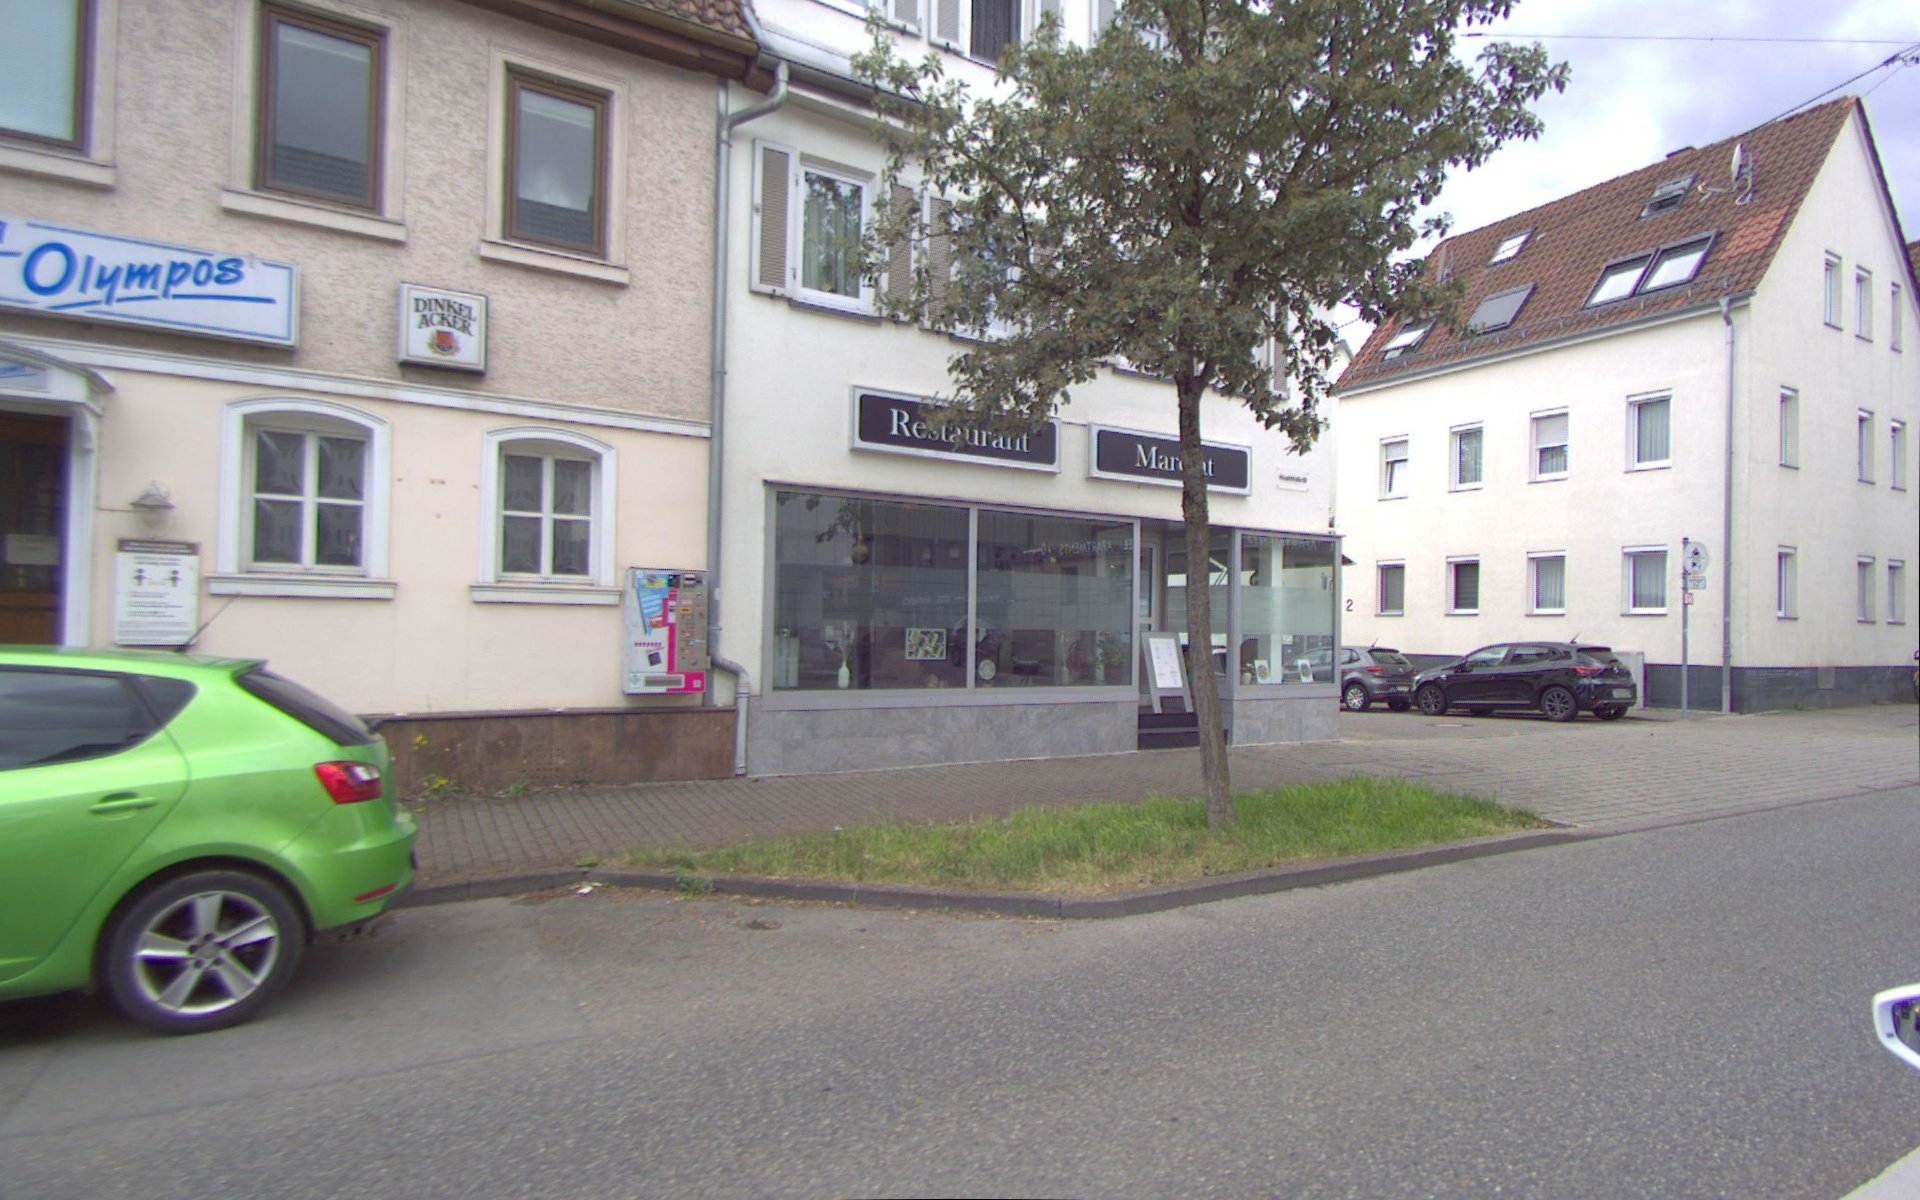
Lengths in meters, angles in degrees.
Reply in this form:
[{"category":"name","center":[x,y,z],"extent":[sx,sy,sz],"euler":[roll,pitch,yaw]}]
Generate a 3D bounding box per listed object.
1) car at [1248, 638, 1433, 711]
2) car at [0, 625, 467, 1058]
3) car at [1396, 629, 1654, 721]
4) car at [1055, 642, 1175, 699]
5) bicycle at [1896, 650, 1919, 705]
[{"category":"car","center":[8.584,1.693,22.939],"extent":[1.652,1.505,3.683],"euler":[2,-4,-32]},{"category":"car","center":[-4.179,0.829,3.821],"extent":[3.976,1.466,1.673],"euler":[2,-3,-32]},{"category":"car","center":[10.653,1.409,19.235],"extent":[1.715,1.554,3.969],"euler":[2,-4,-30]},{"category":"car","center":[4.587,2.103,30.153],"extent":[1.650,1.597,3.686],"euler":[2,-4,-29]},{"category":"bicycle","center":[21.273,1.695,22.154],"extent":[1.648,1.169,0.511],"euler":[2,0,-33]}]
